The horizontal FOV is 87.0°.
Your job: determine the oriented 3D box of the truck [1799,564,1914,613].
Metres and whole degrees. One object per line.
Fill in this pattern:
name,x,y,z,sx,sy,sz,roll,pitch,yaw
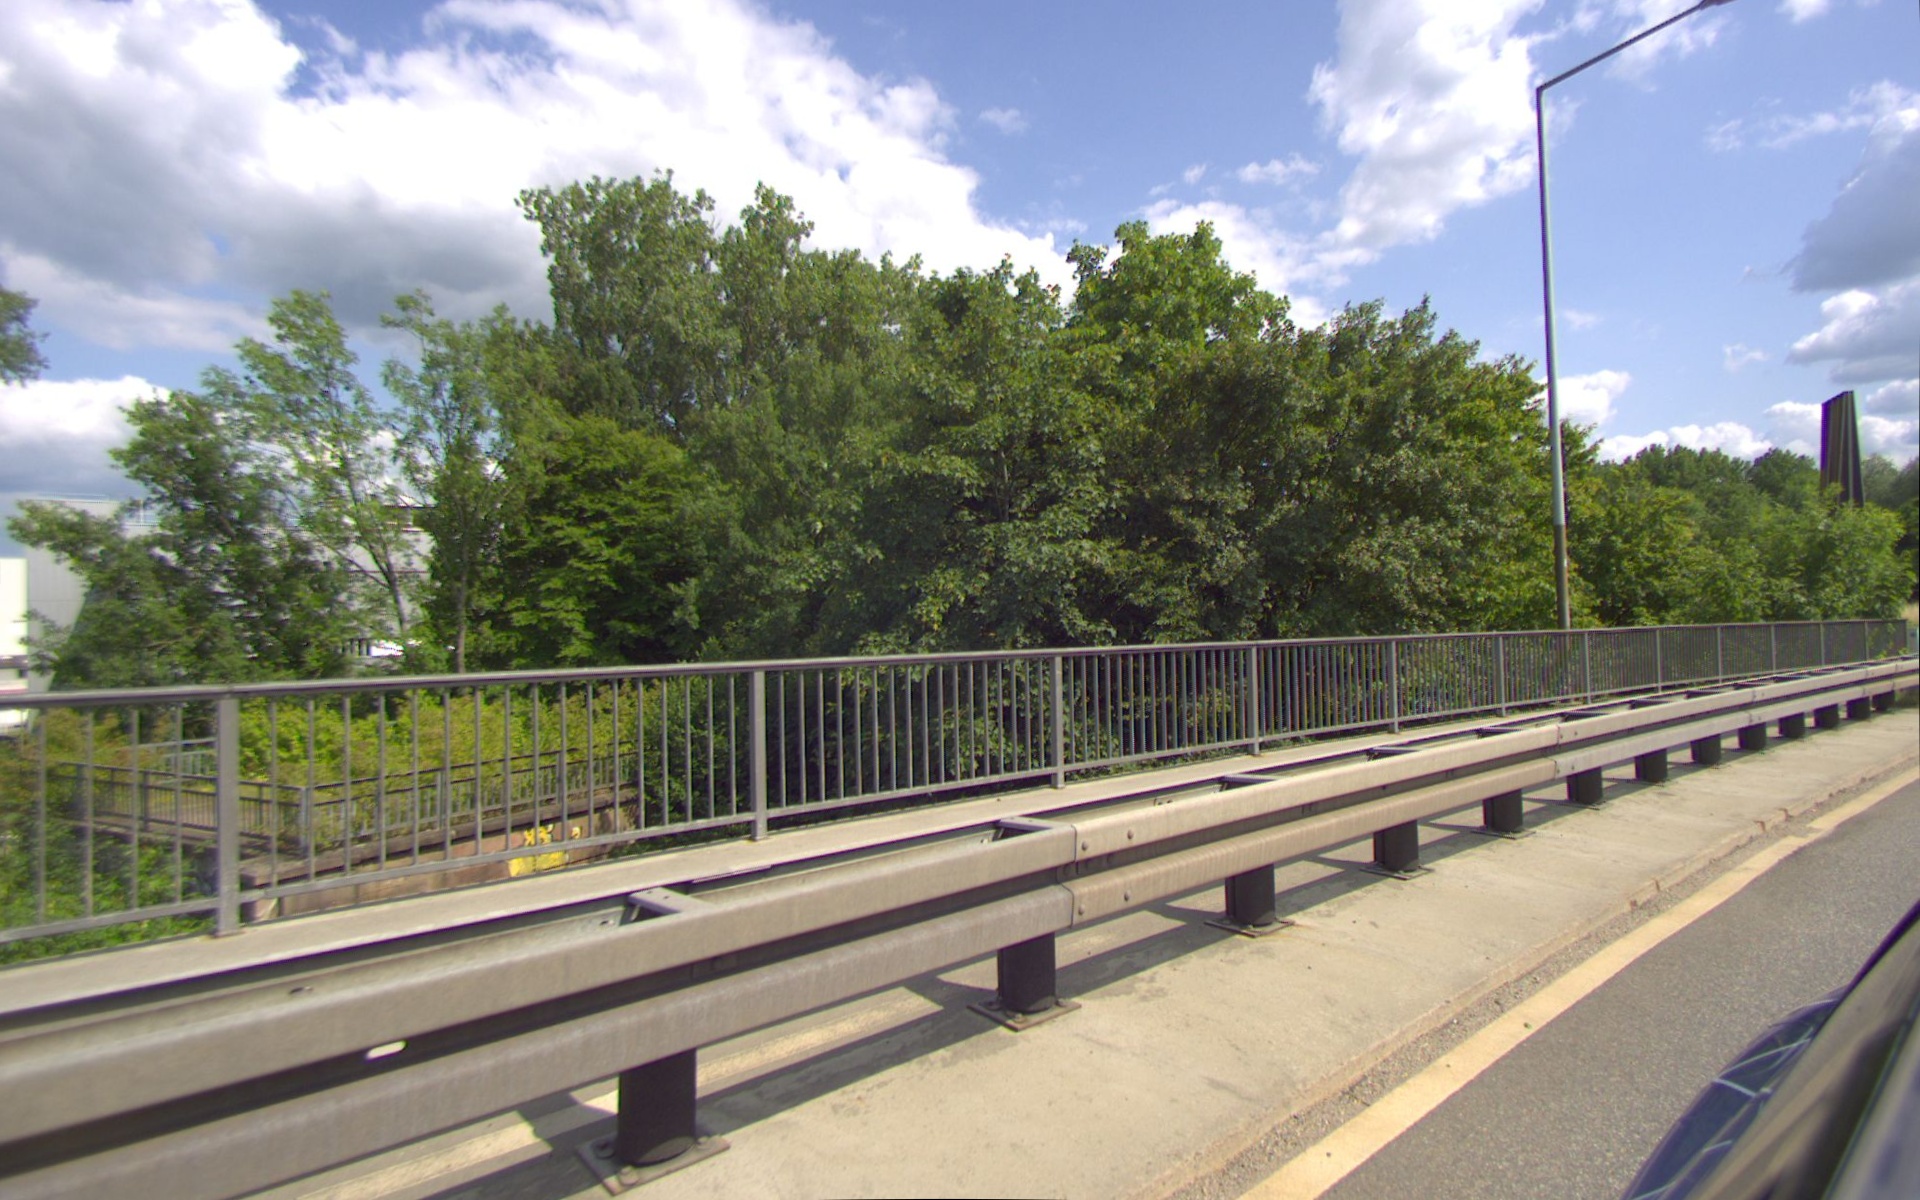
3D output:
truck,75.497,-0.868,85.411,2.720,3.895,6.832,0,-1,-16

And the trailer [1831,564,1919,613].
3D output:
trailer,76.930,-0.898,80.322,2.722,3.899,12.344,0,-1,-16
